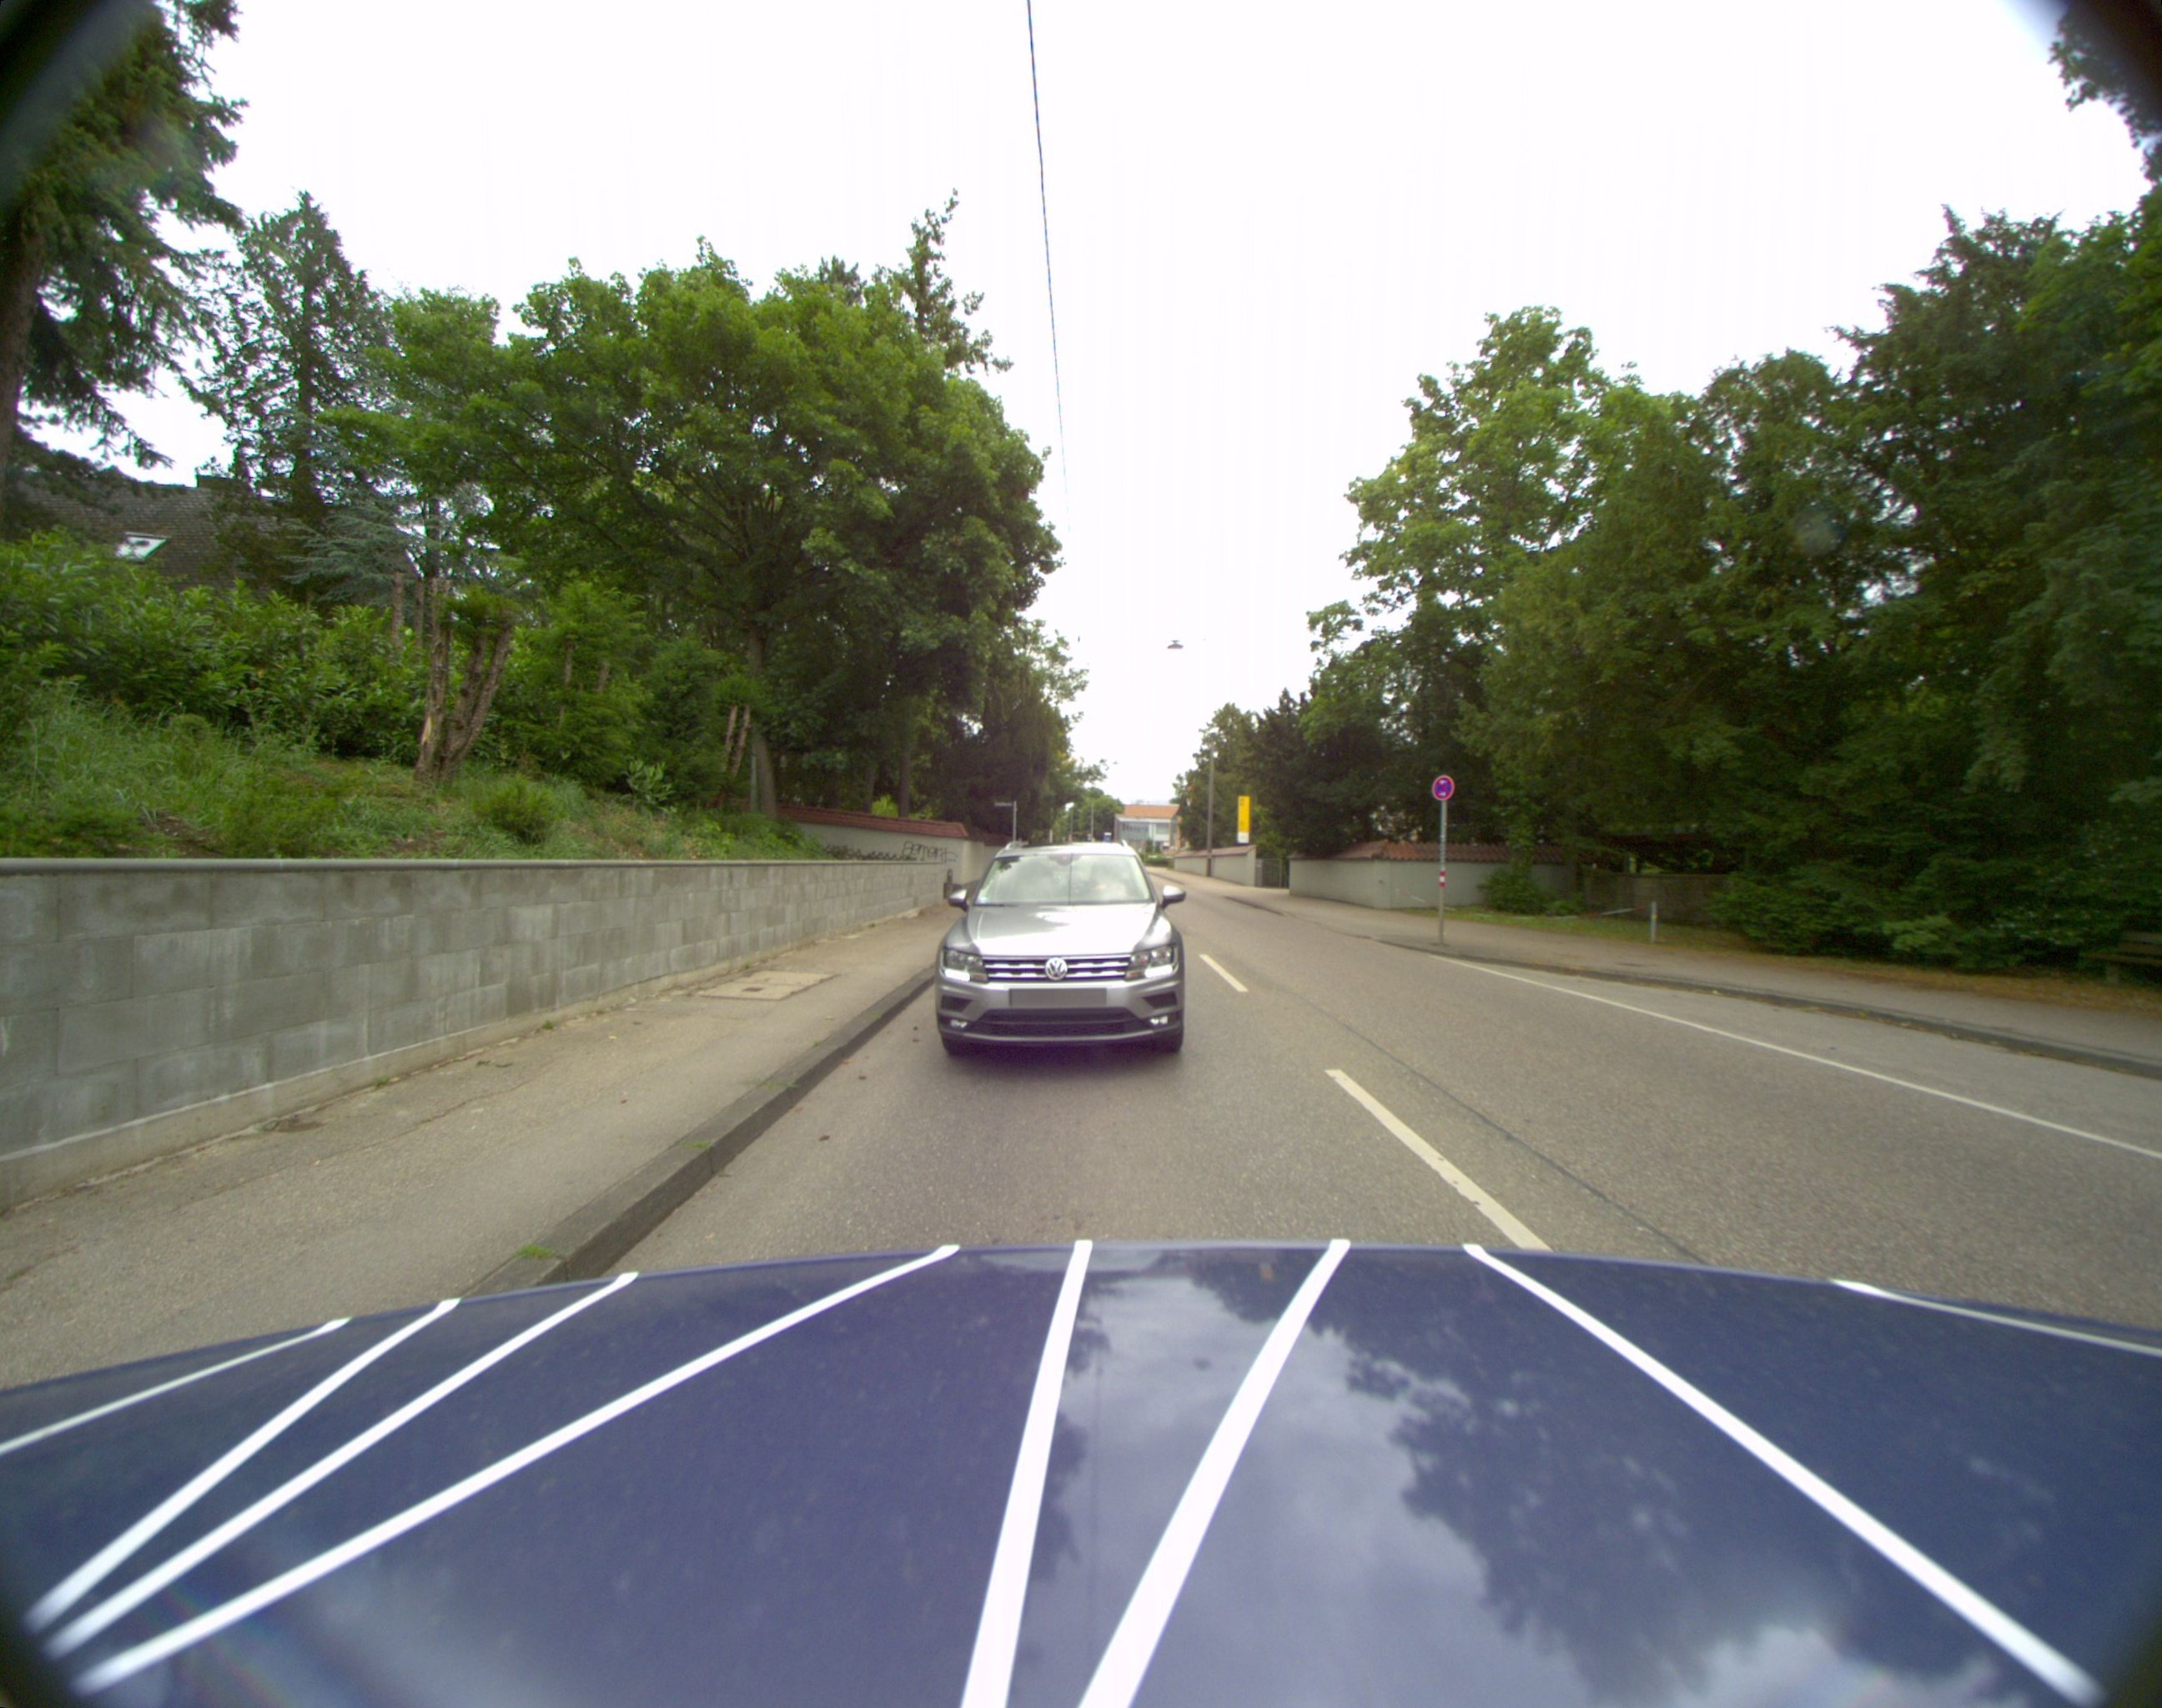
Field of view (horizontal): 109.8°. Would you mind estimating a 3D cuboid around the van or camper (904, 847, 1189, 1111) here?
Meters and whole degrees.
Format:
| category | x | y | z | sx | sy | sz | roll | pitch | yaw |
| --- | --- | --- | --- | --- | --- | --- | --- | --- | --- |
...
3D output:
| category | x | y | z | sx | sy | sz | roll | pitch | yaw |
| --- | --- | --- | --- | --- | --- | --- | --- | --- | --- |
| van or camper | -0.194 | 0.782 | 6.911 | 1.800 | 1.663 | 4.198 | 0 | 0 | 1 |
